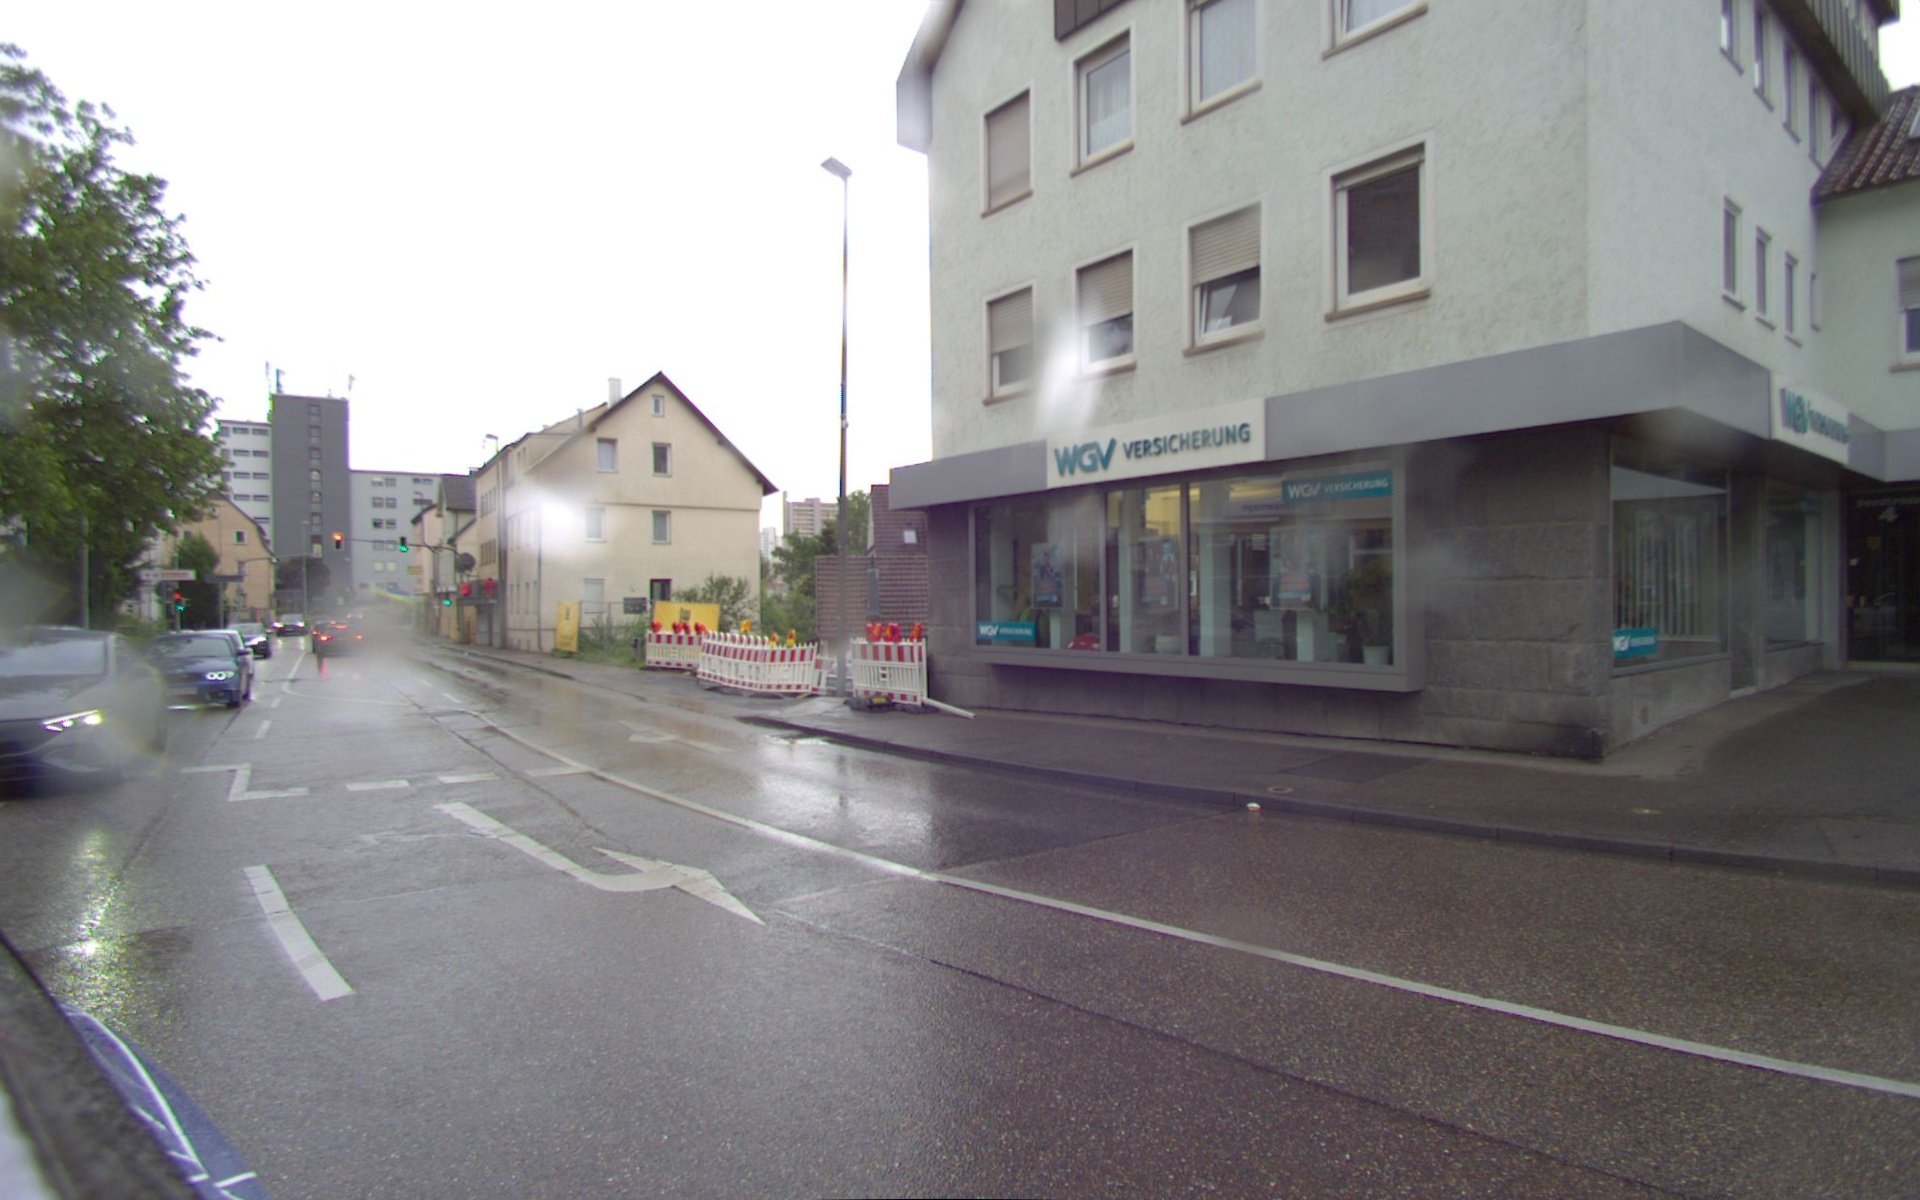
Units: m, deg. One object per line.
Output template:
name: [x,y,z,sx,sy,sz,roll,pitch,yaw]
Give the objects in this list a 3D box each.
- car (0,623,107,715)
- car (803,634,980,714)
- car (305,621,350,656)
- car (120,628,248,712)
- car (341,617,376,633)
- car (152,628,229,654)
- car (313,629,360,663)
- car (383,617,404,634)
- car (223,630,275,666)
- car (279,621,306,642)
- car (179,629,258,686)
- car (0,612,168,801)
car: [-20.096,1.416,21.736,1.904,1.794,4.748,0,-2,-30]
car: [-1.414,1.624,21.678,3.456,1.401,1.653,10,-10,-41]
car: [-32.041,1.947,51.234,1.791,1.657,4.287,-1,-1,-34]
car: [-14.828,1.275,19.504,1.615,1.443,3.816,1,-2,-33]
car: [-61.722,2.537,103.922,1.592,1.515,3.722,-2,0,-6]
car: [-48.383,2.554,63.730,1.665,1.472,3.997,-1,-1,2]
car: [-28.232,2.036,45.753,1.684,1.394,3.679,-1,-1,-33]
car: [-57.088,2.566,101.978,1.790,1.583,4.289,0,-2,-28]
car: [-31.851,2.103,45.408,1.659,1.472,4.011,-1,-1,-32]
car: [-51.633,2.451,78.289,1.524,1.545,3.699,-1,-1,-31]
car: [-20.731,1.540,28.370,1.660,1.432,4.010,-1,-1,-35]
car: [-9.460,0.980,10.303,1.791,1.583,4.287,-1,-1,-33]
